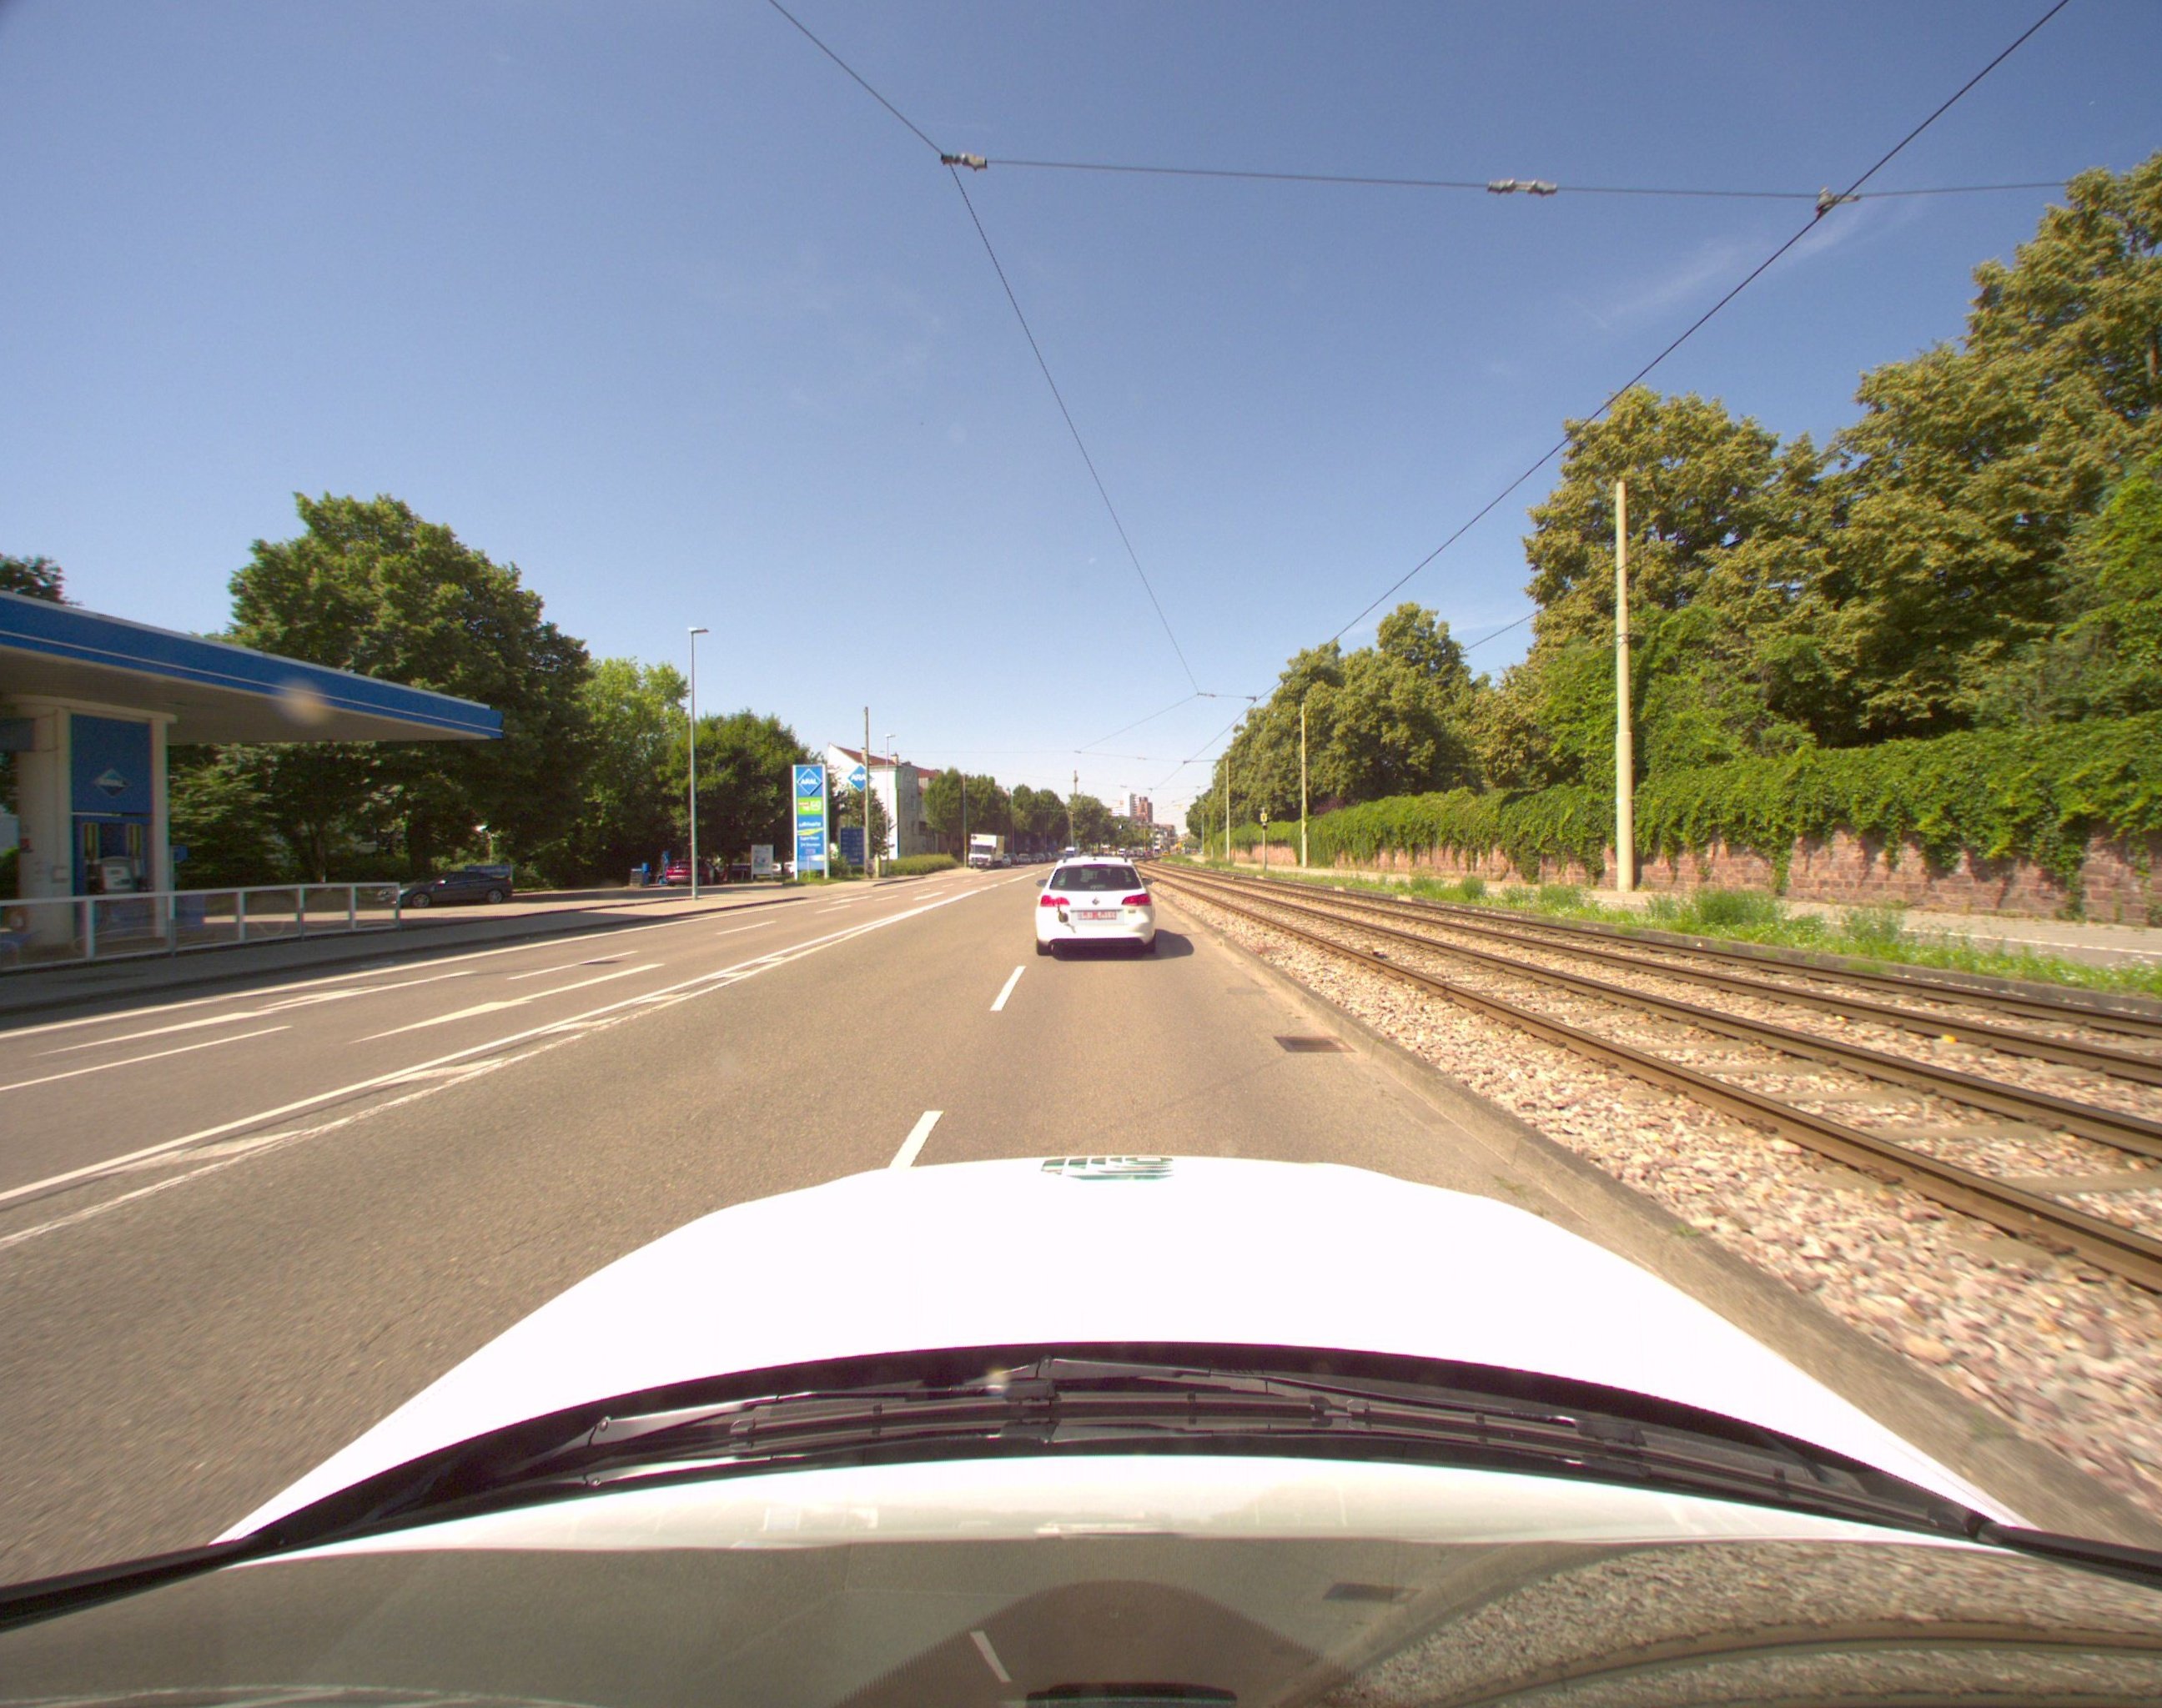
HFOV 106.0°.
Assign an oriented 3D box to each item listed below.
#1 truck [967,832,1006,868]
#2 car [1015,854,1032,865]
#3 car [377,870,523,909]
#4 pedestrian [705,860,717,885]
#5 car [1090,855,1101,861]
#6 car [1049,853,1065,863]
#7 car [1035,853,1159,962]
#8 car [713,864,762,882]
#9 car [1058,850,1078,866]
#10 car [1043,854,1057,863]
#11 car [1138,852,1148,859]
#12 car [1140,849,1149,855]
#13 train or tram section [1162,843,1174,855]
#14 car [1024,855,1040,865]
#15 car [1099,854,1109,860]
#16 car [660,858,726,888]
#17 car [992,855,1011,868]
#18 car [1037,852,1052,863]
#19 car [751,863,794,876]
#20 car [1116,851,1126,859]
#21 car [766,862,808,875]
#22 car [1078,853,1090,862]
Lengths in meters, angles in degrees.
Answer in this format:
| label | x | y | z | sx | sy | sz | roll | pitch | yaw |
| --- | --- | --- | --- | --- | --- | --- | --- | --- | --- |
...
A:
| label | x | y | z | sx | sy | sz | roll | pitch | yaw |
| --- | --- | --- | --- | --- | --- | --- | --- | --- | --- |
| truck | -9.728 | -0.375 | 84.747 | 2.657 | 3.530 | 8.594 | 1 | 0 | 2 |
| car | -8.173 | 0.781 | 115.641 | 1.773 | 1.483 | 4.860 | 0 | 0 | 3 |
| car | -25.300 | 1.377 | 32.838 | 1.783 | 1.345 | 4.268 | -1 | 0 | 24 |
| pedestrian | -22.874 | 1.141 | 50.328 | 0.497 | 1.481 | 0.500 | -1 | 0 | 1 |
| car | 3.452 | 0.868 | 188.038 | 1.688 | 1.417 | 4.014 | -1 | 0 | 13 |
| car | -4.195 | 0.701 | 144.209 | 1.789 | 1.724 | 4.923 | 2 | 0 | 10 |
| car | 0.264 | 0.727 | 13.340 | 1.685 | 1.451 | 4.459 | 0 | 1 | 1 |
| car | -29.987 | 1.675 | 71.105 | 3.573 | 1.484 | 1.667 | -1 | 0 | 14 |
| car | -1.289 | 0.368 | 83.820 | 1.793 | 1.507 | 4.004 | 0 | 1 | 3 |
| car | -5.223 | 0.703 | 139.128 | 1.681 | 1.474 | 4.057 | 2 | 0 | 7 |
| car | 14.090 | 0.369 | 184.377 | 1.790 | 1.507 | 4.011 | 0 | 0 | 9 |
| car | 14.922 | -0.477 | 190.429 | 1.790 | 1.460 | 4.011 | 0 | 0 | 9 |
| train or tram section | 28.004 | -1.455 | 260.925 | 2.494 | 3.747 | 13.355 | -1 | 0 | 12 |
| car | -7.377 | 0.847 | 122.219 | 1.715 | 1.474 | 4.720 | 1 | 0 | 4 |
| car | 5.720 | 0.779 | 200.773 | 1.688 | 1.352 | 4.014 | -1 | 0 | 13 |
| car | -23.652 | 1.105 | 49.844 | 1.793 | 1.569 | 4.519 | -1 | 1 | 1 |
| car | -9.427 | 0.877 | 96.970 | 1.751 | 1.429 | 4.283 | 0 | 0 | 2 |
| car | -5.938 | 0.624 | 133.680 | 1.761 | 1.723 | 4.876 | 1 | 0 | 5 |
| car | -29.953 | 1.510 | 79.148 | 3.626 | 1.205 | 1.580 | -1 | 0 | 12 |
| car | 11.556 | 0.306 | 234.621 | 1.867 | 2.415 | 5.134 | -1 | 0 | 13 |
| car | -29.341 | 1.433 | 81.415 | 3.626 | 1.205 | 1.580 | -1 | 0 | 12 |
| car | 0.571 | 0.604 | 143.891 | 1.650 | 1.420 | 4.317 | -3 | 0 | 6 |
